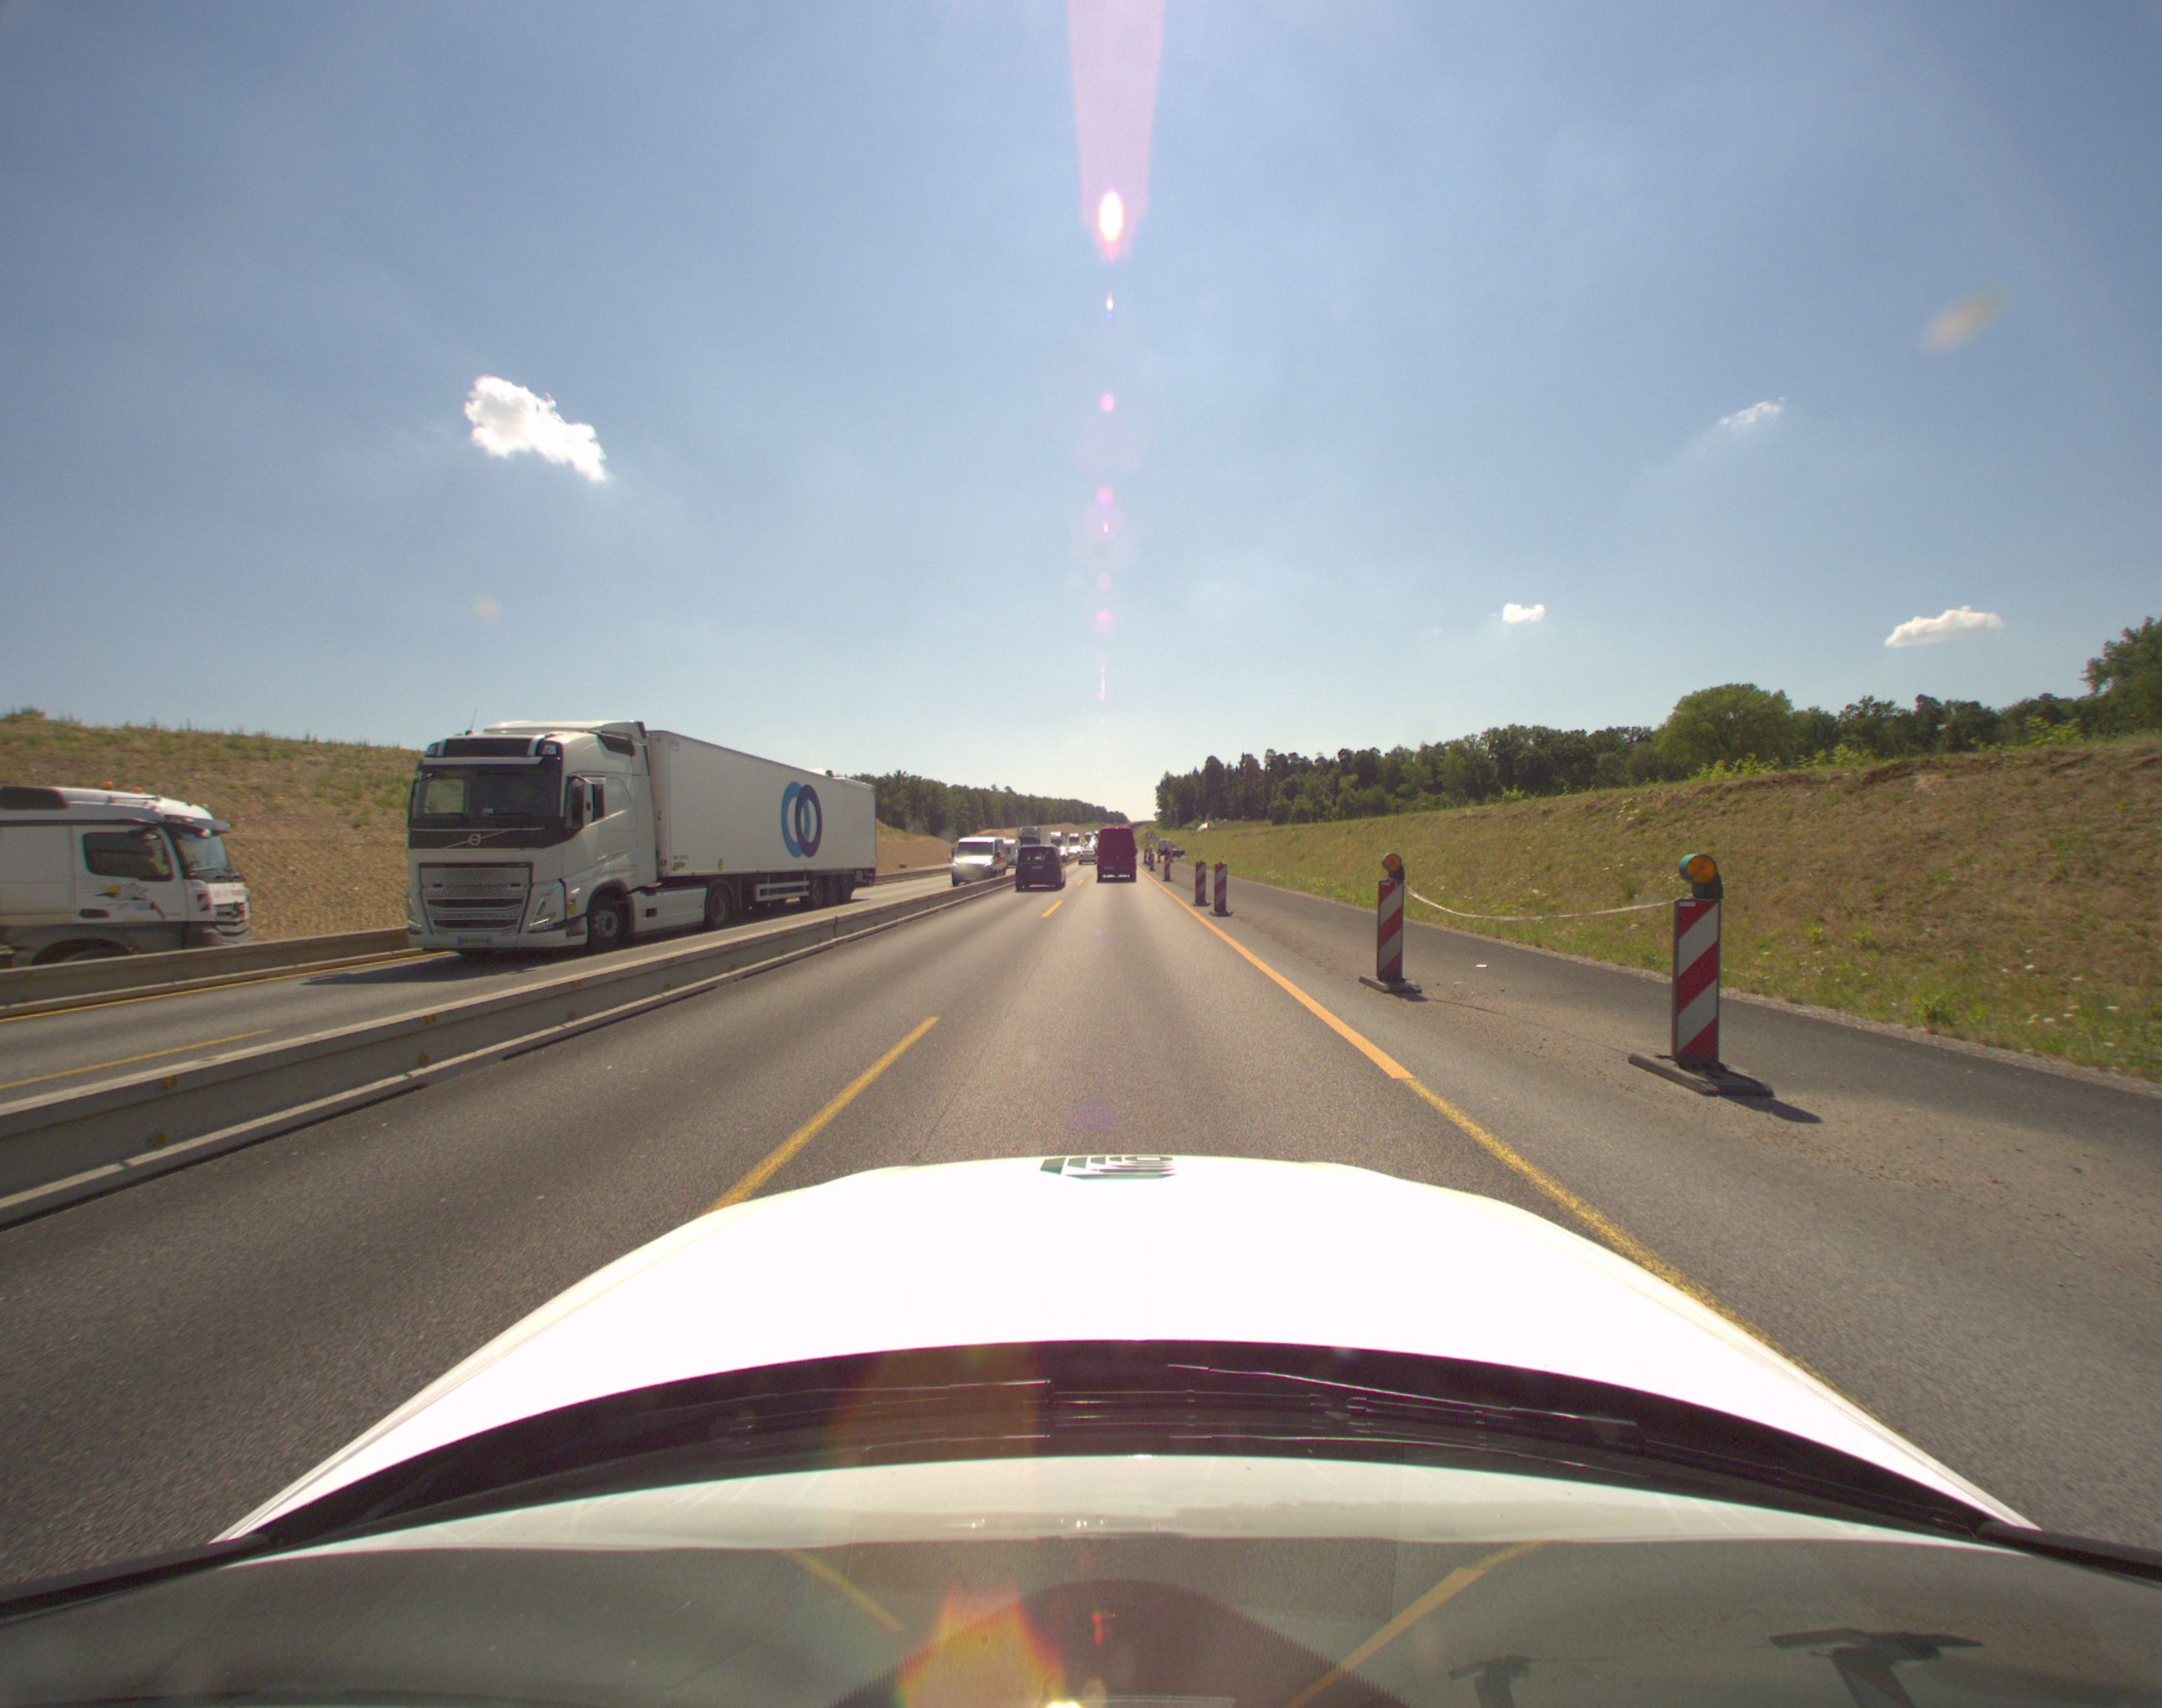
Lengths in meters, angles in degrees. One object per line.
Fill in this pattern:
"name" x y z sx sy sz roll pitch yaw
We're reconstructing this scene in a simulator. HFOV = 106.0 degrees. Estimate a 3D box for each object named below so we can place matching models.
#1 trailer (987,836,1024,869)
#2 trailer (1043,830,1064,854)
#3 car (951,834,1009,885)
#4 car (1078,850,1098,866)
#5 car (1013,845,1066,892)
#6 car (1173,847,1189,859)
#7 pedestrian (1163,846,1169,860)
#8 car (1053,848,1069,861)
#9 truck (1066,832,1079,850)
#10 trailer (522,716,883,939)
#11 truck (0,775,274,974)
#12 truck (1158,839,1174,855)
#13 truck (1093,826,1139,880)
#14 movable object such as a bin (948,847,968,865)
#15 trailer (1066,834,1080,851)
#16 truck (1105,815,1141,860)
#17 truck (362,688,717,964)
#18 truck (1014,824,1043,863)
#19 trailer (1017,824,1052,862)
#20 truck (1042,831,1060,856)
"trailer" -6.716 -0.135 73.132 2.302 2.686 6.759 -2 0 2
"trailer" -4.649 -1.971 141.163 2.643 3.938 14.005 0 0 2
"car" -4.840 0.271 39.654 1.986 2.292 5.345 0 0 2
"car" 0.753 0.348 80.123 1.824 1.522 3.963 0 0 2
"car" -1.640 0.525 33.974 1.744 1.824 4.786 0 1 2
"car" 13.454 -0.190 109.678 1.647 1.426 4.549 -3 1 3
"pedestrian" 11.438 -0.165 109.297 0.642 1.828 0.555 0 1 -19
"car" -2.415 0.081 98.273 1.682 1.613 4.595 0 0 2
"truck" -2.114 -3.130 194.937 2.757 4.044 4.947 0 0 3
"trailer" -8.792 -0.477 22.148 2.843 4.093 13.660 -2 0 2
"truck" -16.903 0.315 13.143 5.082 2.964 2.560 0 -1 -34
"truck" 13.423 -1.100 127.902 2.117 2.456 5.941 0 1 9
"truck" 1.724 -0.060 41.834 2.146 2.590 5.333 0 0 0
"movable object such as a bin" -23.188 0.282 153.768 2.159 3.109 7.171 -3 1 3
"trailer" -1.848 -2.958 201.994 2.780 4.075 13.719 0 1 2
"truck" 5.584 -2.042 109.688 4.383 5.496 16.613 0 0 2
"truck" -9.154 -0.404 14.544 2.837 4.018 4.862 -2 0 2
"truck" -5.906 -1.189 92.057 2.481 4.198 5.916 -2 0 3
"trailer" -5.521 -1.241 99.503 2.492 4.179 15.545 -2 0 3
"truck" -4.954 -1.685 133.943 2.582 4.053 5.151 0 0 1
